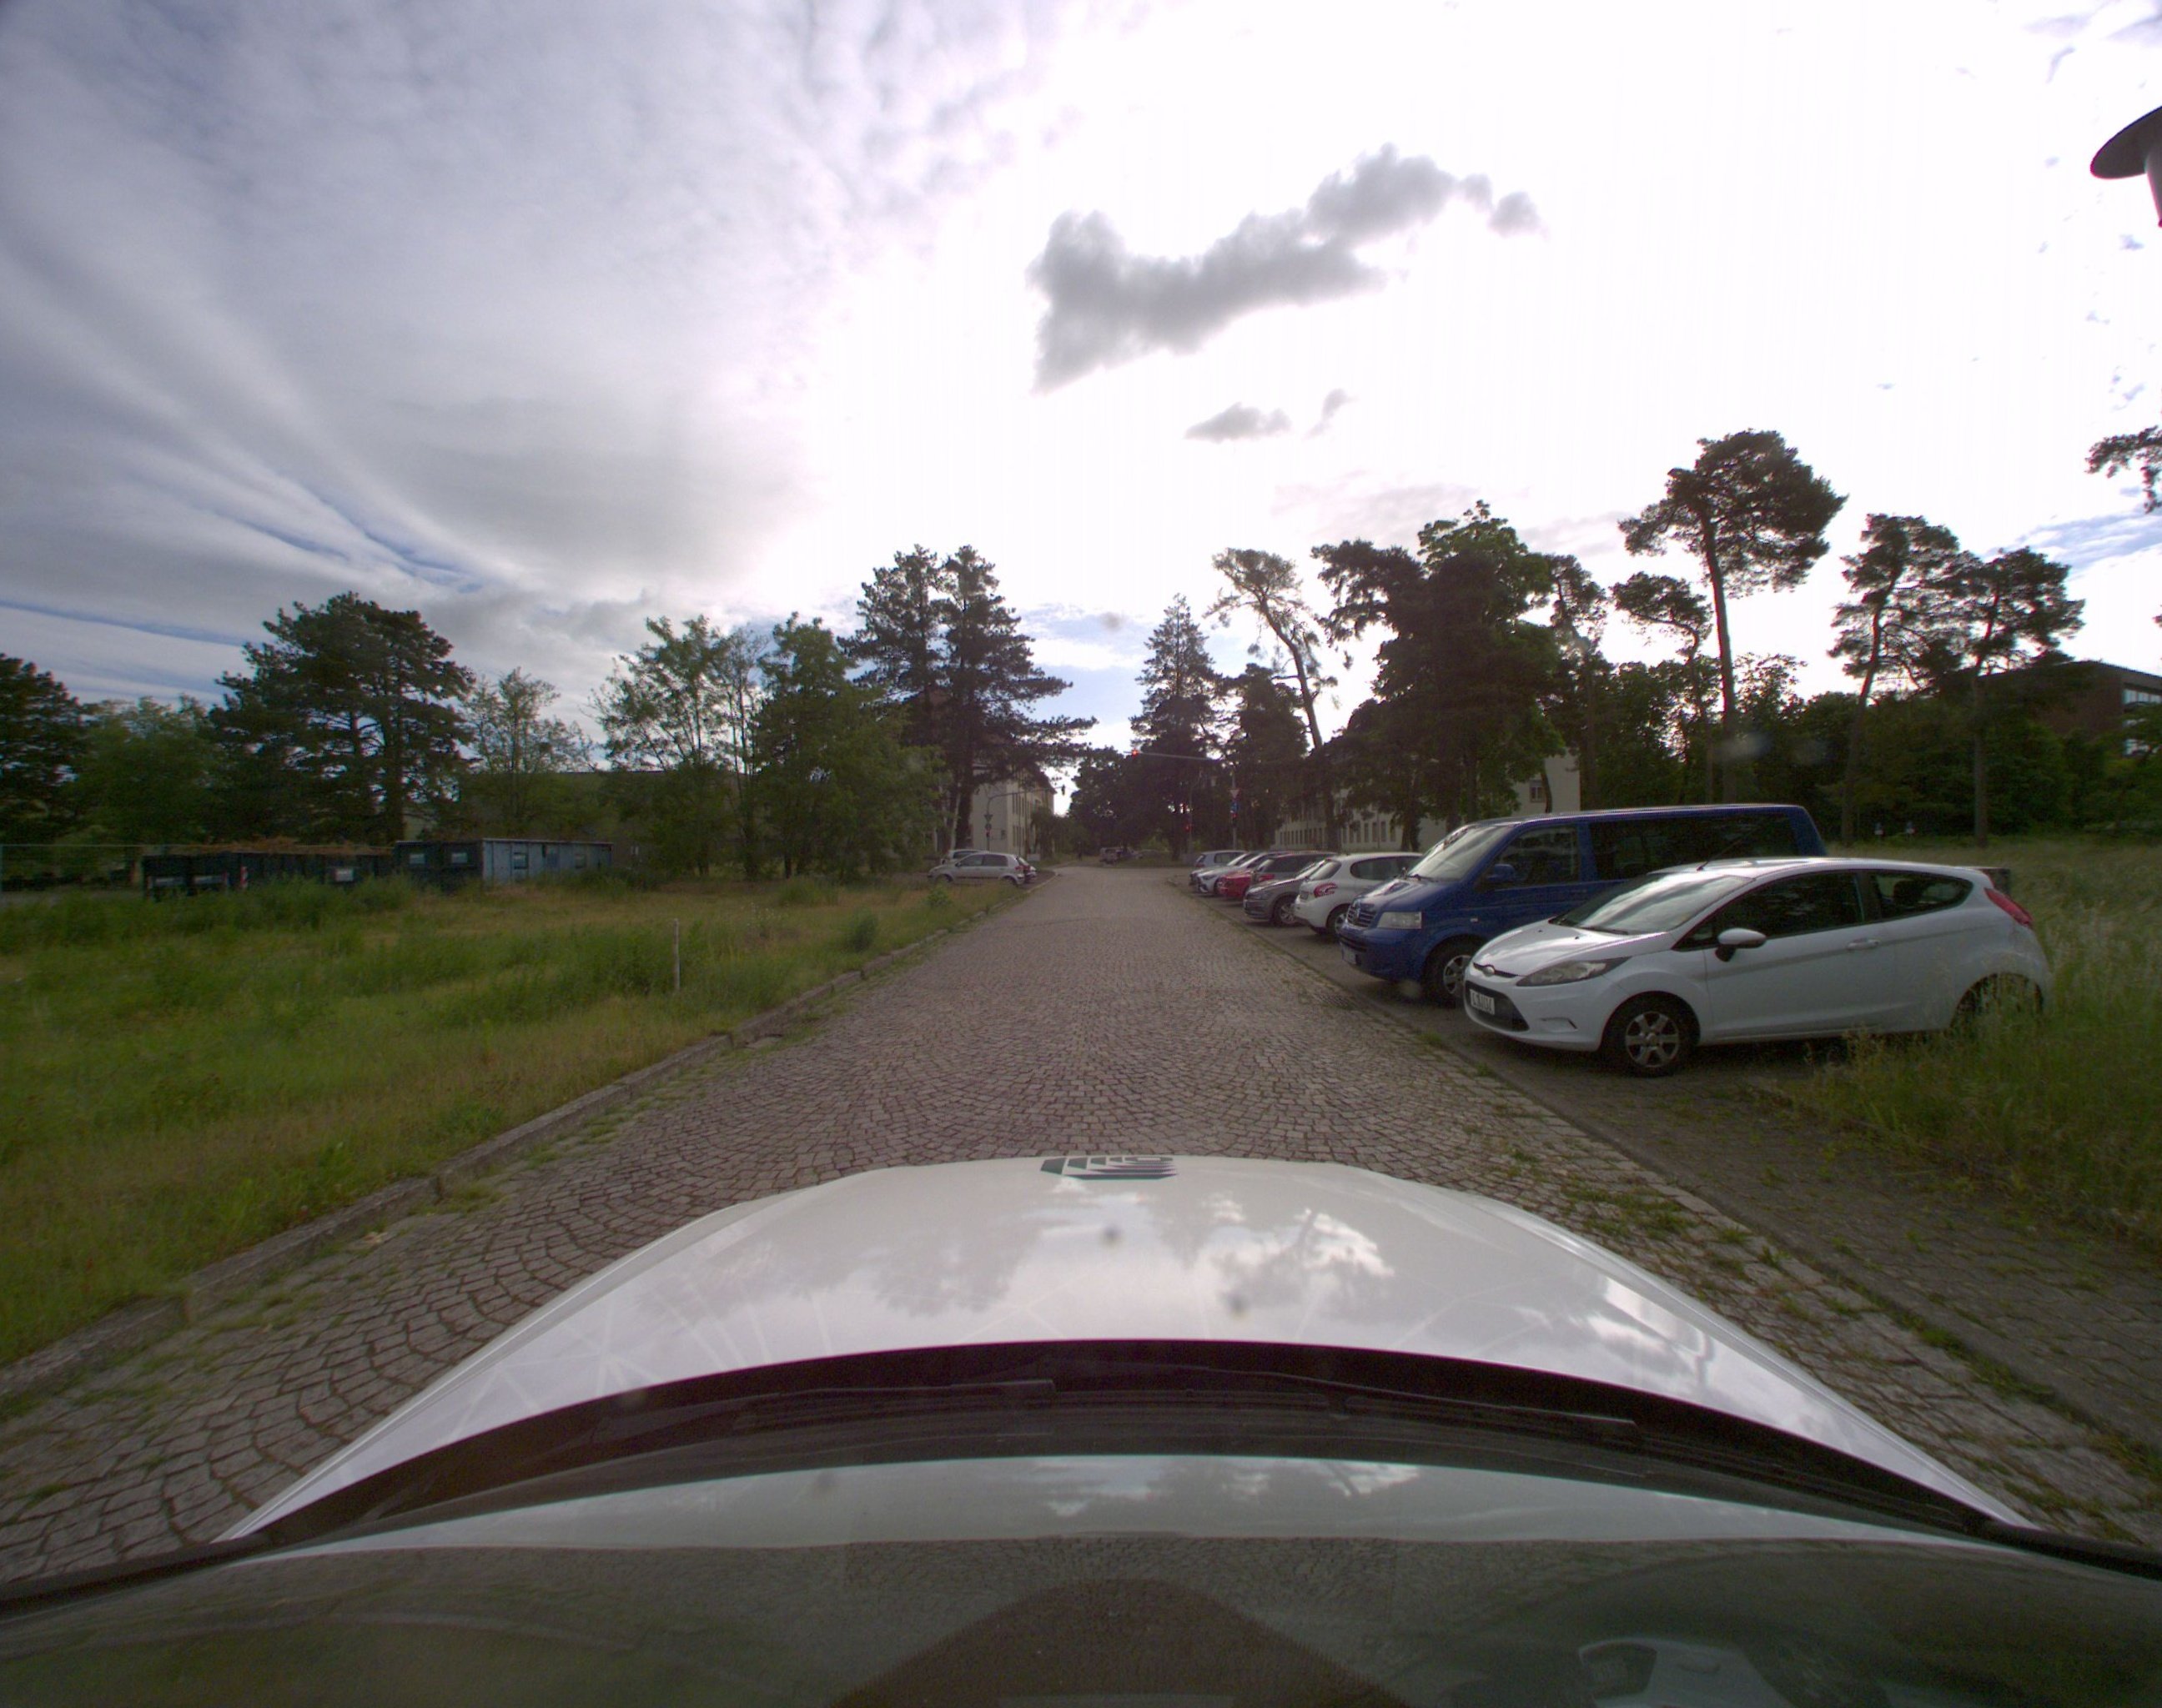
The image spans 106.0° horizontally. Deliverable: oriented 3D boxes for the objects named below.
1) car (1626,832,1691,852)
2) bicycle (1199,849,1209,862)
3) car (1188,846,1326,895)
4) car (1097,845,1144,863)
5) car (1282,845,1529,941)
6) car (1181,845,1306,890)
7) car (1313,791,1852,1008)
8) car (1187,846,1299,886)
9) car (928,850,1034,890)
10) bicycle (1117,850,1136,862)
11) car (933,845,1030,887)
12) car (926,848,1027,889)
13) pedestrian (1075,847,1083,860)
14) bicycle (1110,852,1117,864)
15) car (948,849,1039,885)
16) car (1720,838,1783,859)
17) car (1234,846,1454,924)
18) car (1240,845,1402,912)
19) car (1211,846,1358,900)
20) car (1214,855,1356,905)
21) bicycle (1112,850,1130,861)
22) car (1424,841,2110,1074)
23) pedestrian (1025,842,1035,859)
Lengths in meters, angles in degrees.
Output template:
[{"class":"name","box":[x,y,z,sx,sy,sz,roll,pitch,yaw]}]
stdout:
[{"class":"car","box":[59.997,-1.227,84.638,5.279,2.019,2.107,1,0,2]},{"class":"bicycle","box":[10.493,0.121,69.559,0.660,1.051,1.889,1,1,2]},{"class":"car","box":[5.883,0.530,27.469,4.179,1.437,1.752,-2,0,-6]},{"class":"car","box":[4.864,-0.063,99.786,5.377,2.101,2.171,-1,0,-11]},{"class":"car","box":[5.585,0.634,14.365,3.640,1.478,1.766,-2,0,1]},{"class":"car","box":[5.999,0.462,30.235,4.227,1.479,1.704,-2,0,-9]},{"class":"car","box":[5.261,0.440,9.059,4.780,2.004,1.966,-2,0,0]},{"class":"car","box":[6.495,0.465,32.779,4.126,1.463,1.631,-2,0,-4]},{"class":"car","box":[-4.195,0.655,34.696,4.290,1.554,1.809,-2,0,-4]},{"class":"bicycle","box":[4.769,0.214,84.973,1.877,1.171,0.664,1,0,-4]},{"class":"car","box":[-4.529,0.524,37.511,4.289,1.732,1.651,-2,0,-4]},{"class":"car","box":[-4.060,0.555,32.094,3.710,1.481,1.672,1,0,-1]},{"class":"pedestrian","box":[-0.318,-0.071,129.720,1.237,1.959,1.120,1,0,-3]},{"class":"bicycle","box":[3.248,0.360,80.371,0.660,1.171,1.889,1,0,2]},{"class":"car","box":[-4.252,0.613,39.961,4.290,1.554,1.809,-2,0,-4]},{"class":"car","box":[60.780,-0.490,73.880,4.115,1.804,1.902,1,0,3]},{"class":"car","box":[5.452,0.625,17.275,4.114,1.447,1.767,-2,0,2]},{"class":"car","box":[5.855,0.571,20.135,3.492,1.487,1.744,-2,0,1]},{"class":"car","box":[6.208,0.548,25.098,4.092,1.476,1.684,-2,0,0]},{"class":"car","box":[5.628,0.715,22.768,3.572,1.222,1.630,-2,0,3]},{"class":"bicycle","box":[4.390,0.200,88.481,1.877,1.171,0.664,1,0,-4]},{"class":"car","box":[5.151,0.703,6.516,4.086,1.478,1.721,-2,0,-2]},{"class":"pedestrian","box":[-6.168,-0.447,97.744,1.070,1.959,1.122,1,0,2]}]
